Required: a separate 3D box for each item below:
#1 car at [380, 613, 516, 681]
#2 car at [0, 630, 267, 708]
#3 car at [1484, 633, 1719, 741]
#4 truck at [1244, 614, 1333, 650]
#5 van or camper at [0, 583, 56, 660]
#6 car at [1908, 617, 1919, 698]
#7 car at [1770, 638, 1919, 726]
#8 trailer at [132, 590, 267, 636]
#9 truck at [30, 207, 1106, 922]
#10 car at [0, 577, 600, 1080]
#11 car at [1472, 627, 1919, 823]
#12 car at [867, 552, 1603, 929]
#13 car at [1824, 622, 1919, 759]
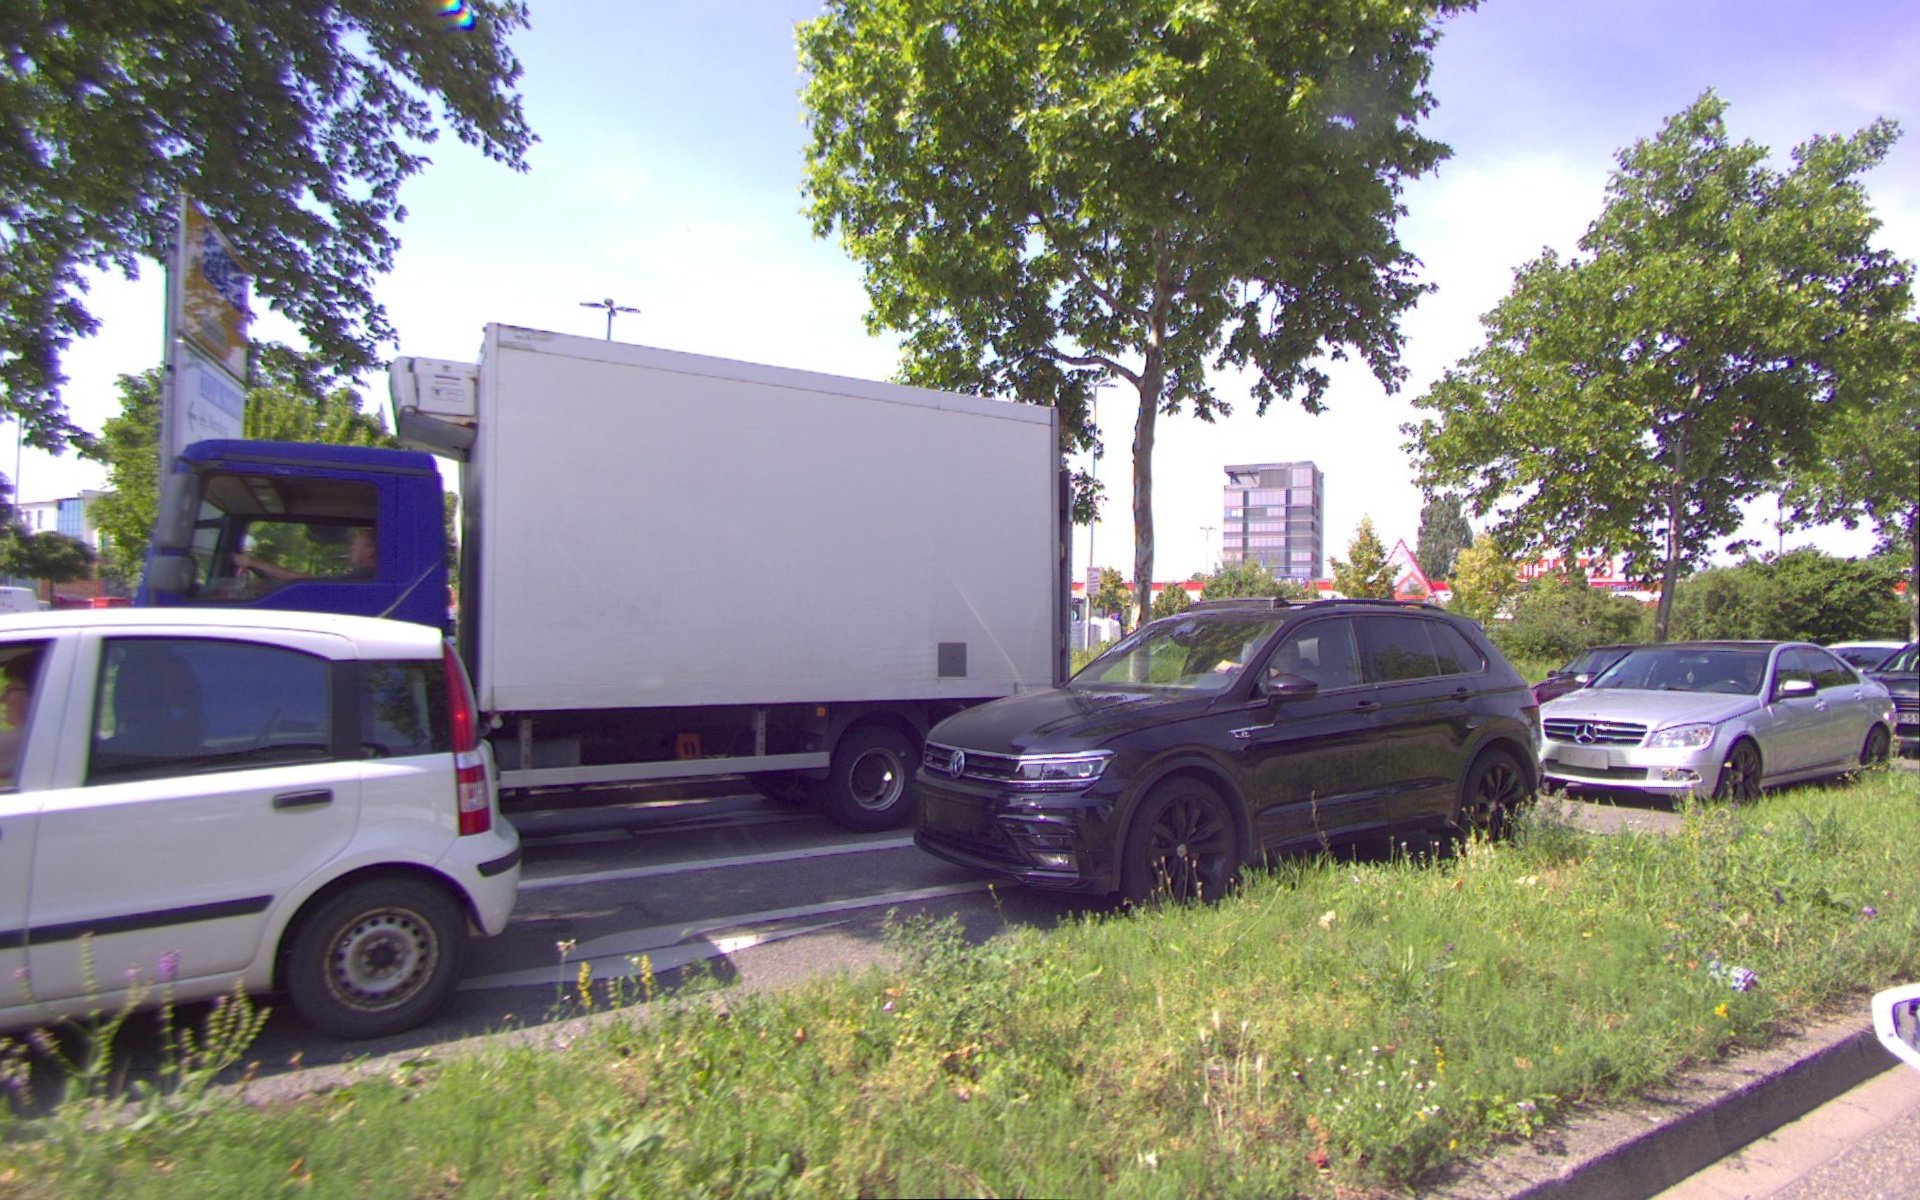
[{"bbox_3d":[-12.271,1.045,23.898,2.180,1.433,4.530,2,-1,-36],"label":"car"},{"bbox_3d":[-19.546,1.551,23.954,2.157,1.593,4.578,1,-1,18],"label":"car"},{"bbox_3d":[9.782,1.264,15.287,3.503,1.471,1.558,1,-4,-30],"label":"car"},{"bbox_3d":[20.479,1.989,62.790,5.120,2.156,2.001,0,-1,14],"label":"truck"},{"bbox_3d":[-29.700,0.593,28.567,2.155,2.239,5.513,0,-1,26],"label":"van or camper"},{"bbox_3d":[23.336,1.321,22.554,4.715,1.759,1.812,2,-3,-32],"label":"car"},{"bbox_3d":[17.592,1.521,19.443,4.037,1.550,1.681,1,-3,-31],"label":"car"},{"bbox_3d":[-44.046,0.714,58.148,8.057,2.523,2.924,0,-1,26],"label":"trailer"},{"bbox_3d":[-2.354,-0.091,7.821,6.612,3.517,2.791,1,-3,-30],"label":"truck"},{"bbox_3d":[-3.370,0.701,3.627,3.685,1.496,1.585,1,-2,-30],"label":"car"},{"bbox_3d":[7.080,1.017,9.551,4.468,1.487,1.789,1,-2,-30],"label":"car"},{"bbox_3d":[1.901,0.734,6.415,4.639,1.668,1.812,2,-3,-30],"label":"car"},{"bbox_3d":[13.083,1.108,12.931,4.190,1.607,1.681,1,-2,-30],"label":"car"}]
